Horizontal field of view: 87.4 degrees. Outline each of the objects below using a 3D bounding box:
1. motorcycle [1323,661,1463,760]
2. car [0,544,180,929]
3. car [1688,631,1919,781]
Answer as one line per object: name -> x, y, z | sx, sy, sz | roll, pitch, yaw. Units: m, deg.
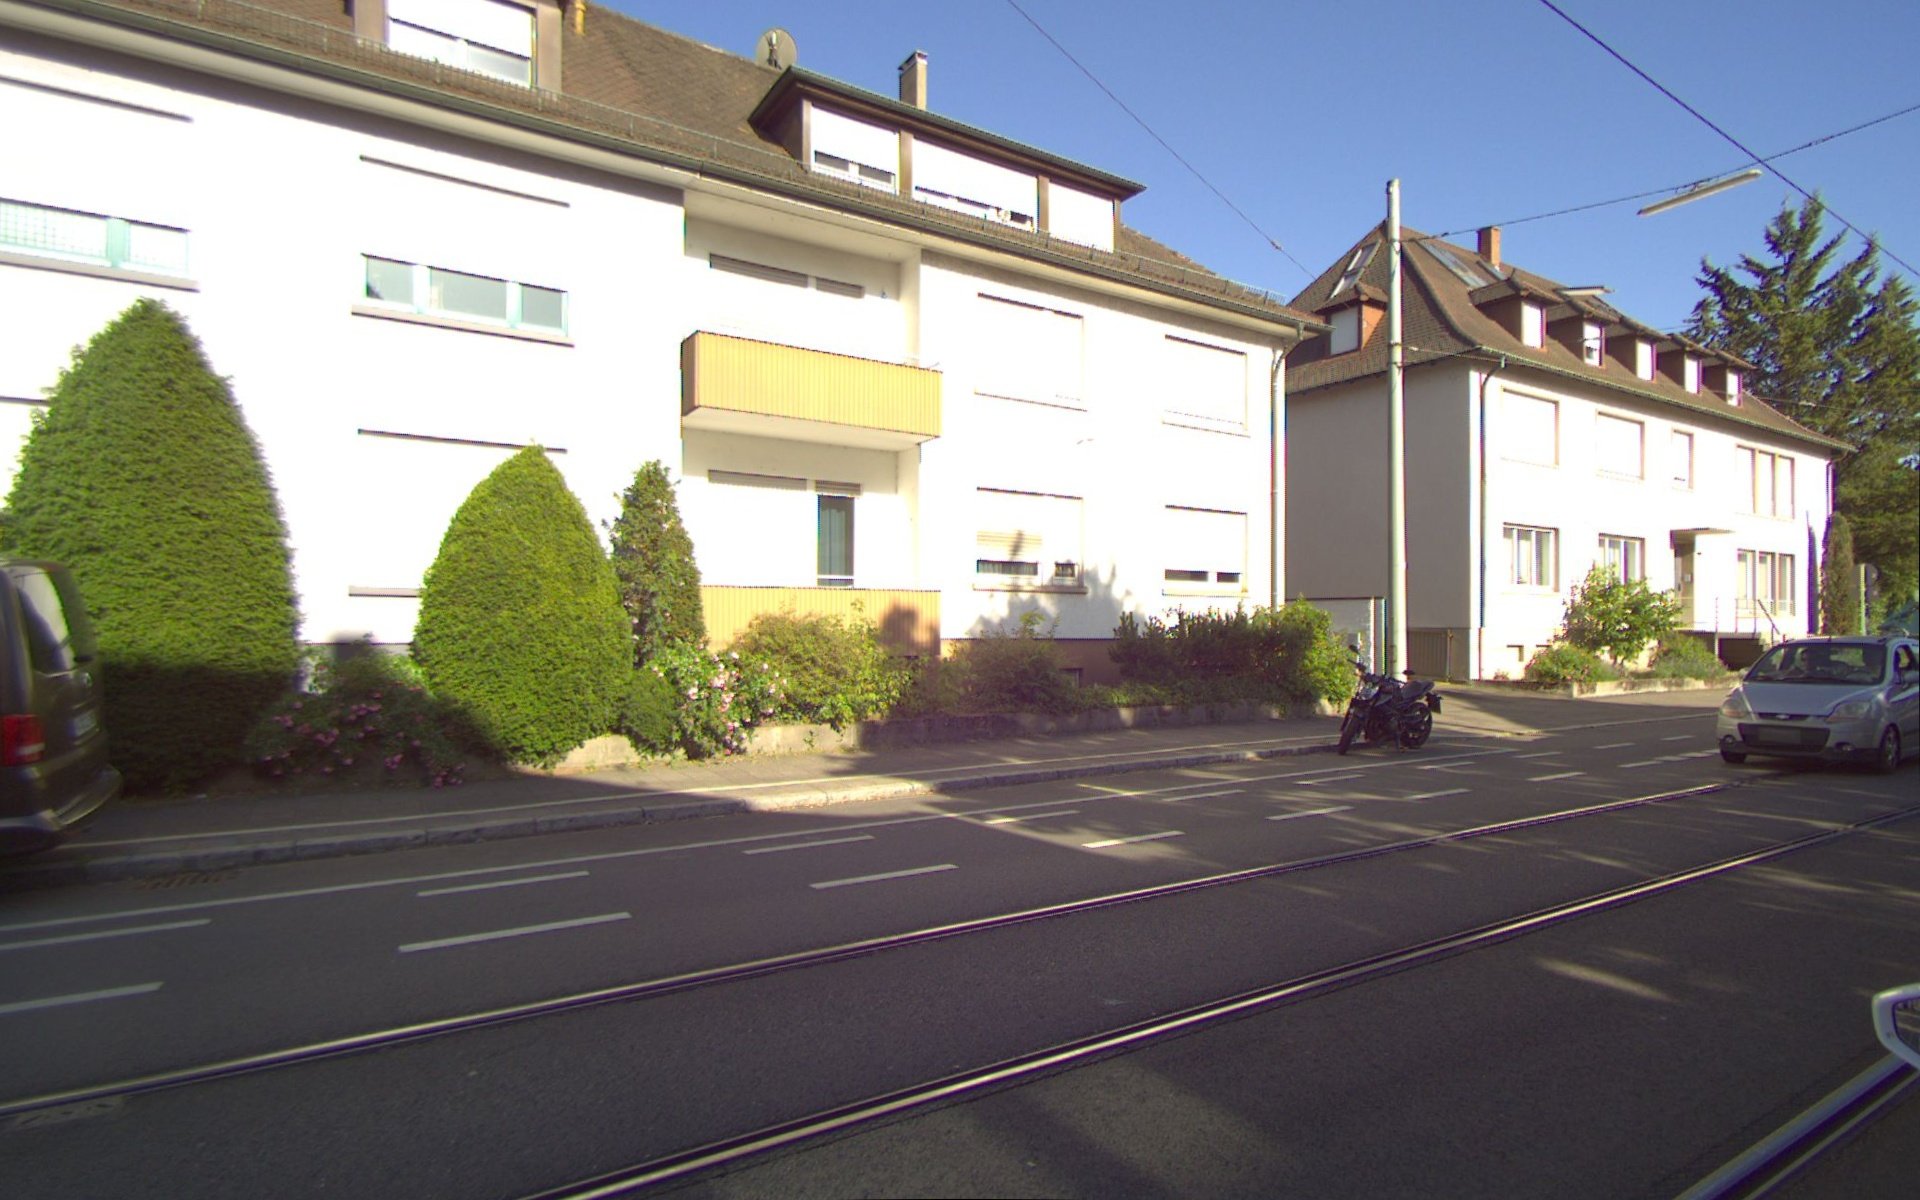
motorcycle -> 5.652, 1.389, 13.045 | 2.148, 1.177, 0.533 | 1, -3, -32
car -> -7.251, 0.680, 5.134 | 4.891, 2.041, 1.897 | 1, 0, -30
car -> 10.147, 1.121, 11.678 | 3.403, 1.496, 1.567 | 1, -2, -32
